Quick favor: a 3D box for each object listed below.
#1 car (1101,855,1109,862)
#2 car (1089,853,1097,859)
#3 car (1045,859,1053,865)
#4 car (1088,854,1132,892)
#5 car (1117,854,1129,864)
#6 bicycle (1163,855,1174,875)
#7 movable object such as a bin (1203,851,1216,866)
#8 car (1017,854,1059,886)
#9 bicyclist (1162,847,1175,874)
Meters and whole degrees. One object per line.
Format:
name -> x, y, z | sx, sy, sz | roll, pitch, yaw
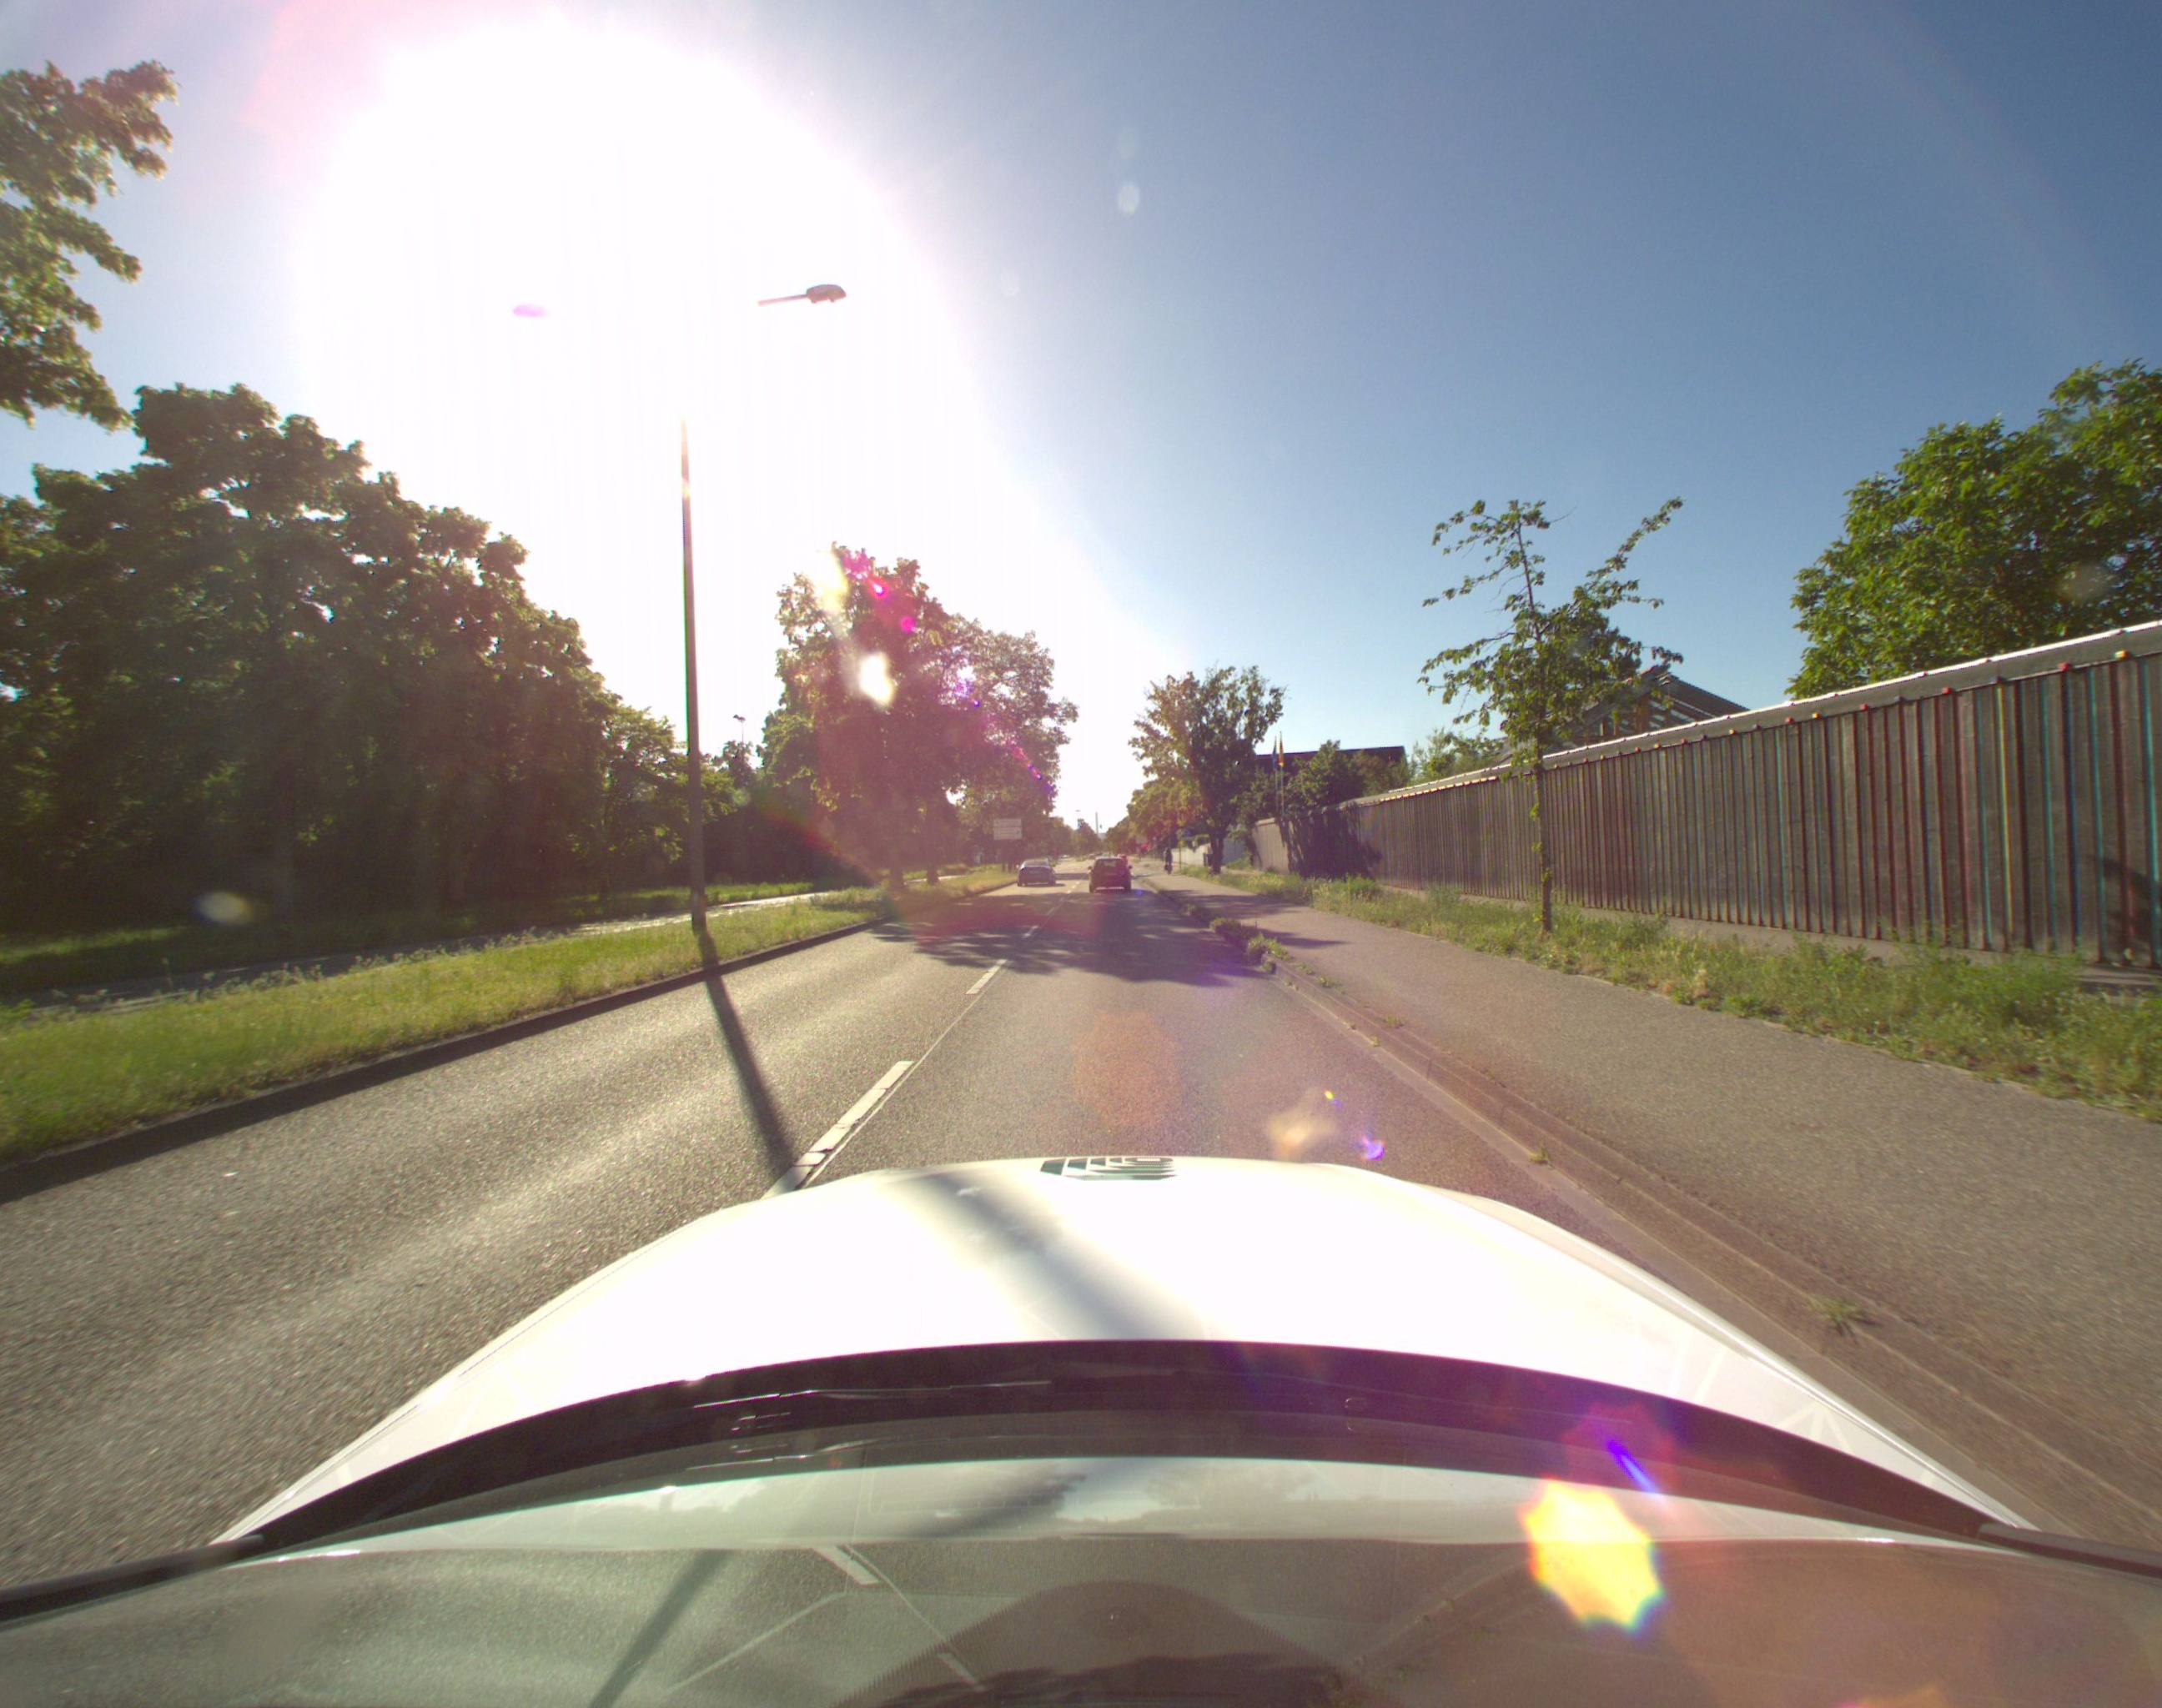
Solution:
car -> 5.530, 0.976, 187.742 | 1.726, 1.585, 3.841 | 0, -1, 1
car -> 3.186, 0.497, 215.604 | 1.818, 1.615, 3.841 | -1, 1, 1
car -> -9.086, 2.184, 228.336 | 1.904, 1.703, 4.410 | 0, -1, 2
car -> 1.228, 0.774, 34.923 | 1.749, 1.509, 3.810 | -1, -1, 2
car -> 6.731, 0.754, 131.195 | 1.724, 1.459, 3.845 | -2, 0, 5
bicycle -> 5.422, 0.651, 50.381 | 0.571, 1.155, 2.144 | -5, 0, 6
movable object such as a bin -> 11.366, 0.391, 71.959 | 0.996, 1.205, 1.065 | -4, -1, 9
car -> -2.245, 0.856, 43.922 | 1.881, 1.552, 4.001 | -2, -1, 2
bicyclist -> 5.394, 0.390, 50.360 | 0.627, 1.632, 0.983 | -5, 0, 5
